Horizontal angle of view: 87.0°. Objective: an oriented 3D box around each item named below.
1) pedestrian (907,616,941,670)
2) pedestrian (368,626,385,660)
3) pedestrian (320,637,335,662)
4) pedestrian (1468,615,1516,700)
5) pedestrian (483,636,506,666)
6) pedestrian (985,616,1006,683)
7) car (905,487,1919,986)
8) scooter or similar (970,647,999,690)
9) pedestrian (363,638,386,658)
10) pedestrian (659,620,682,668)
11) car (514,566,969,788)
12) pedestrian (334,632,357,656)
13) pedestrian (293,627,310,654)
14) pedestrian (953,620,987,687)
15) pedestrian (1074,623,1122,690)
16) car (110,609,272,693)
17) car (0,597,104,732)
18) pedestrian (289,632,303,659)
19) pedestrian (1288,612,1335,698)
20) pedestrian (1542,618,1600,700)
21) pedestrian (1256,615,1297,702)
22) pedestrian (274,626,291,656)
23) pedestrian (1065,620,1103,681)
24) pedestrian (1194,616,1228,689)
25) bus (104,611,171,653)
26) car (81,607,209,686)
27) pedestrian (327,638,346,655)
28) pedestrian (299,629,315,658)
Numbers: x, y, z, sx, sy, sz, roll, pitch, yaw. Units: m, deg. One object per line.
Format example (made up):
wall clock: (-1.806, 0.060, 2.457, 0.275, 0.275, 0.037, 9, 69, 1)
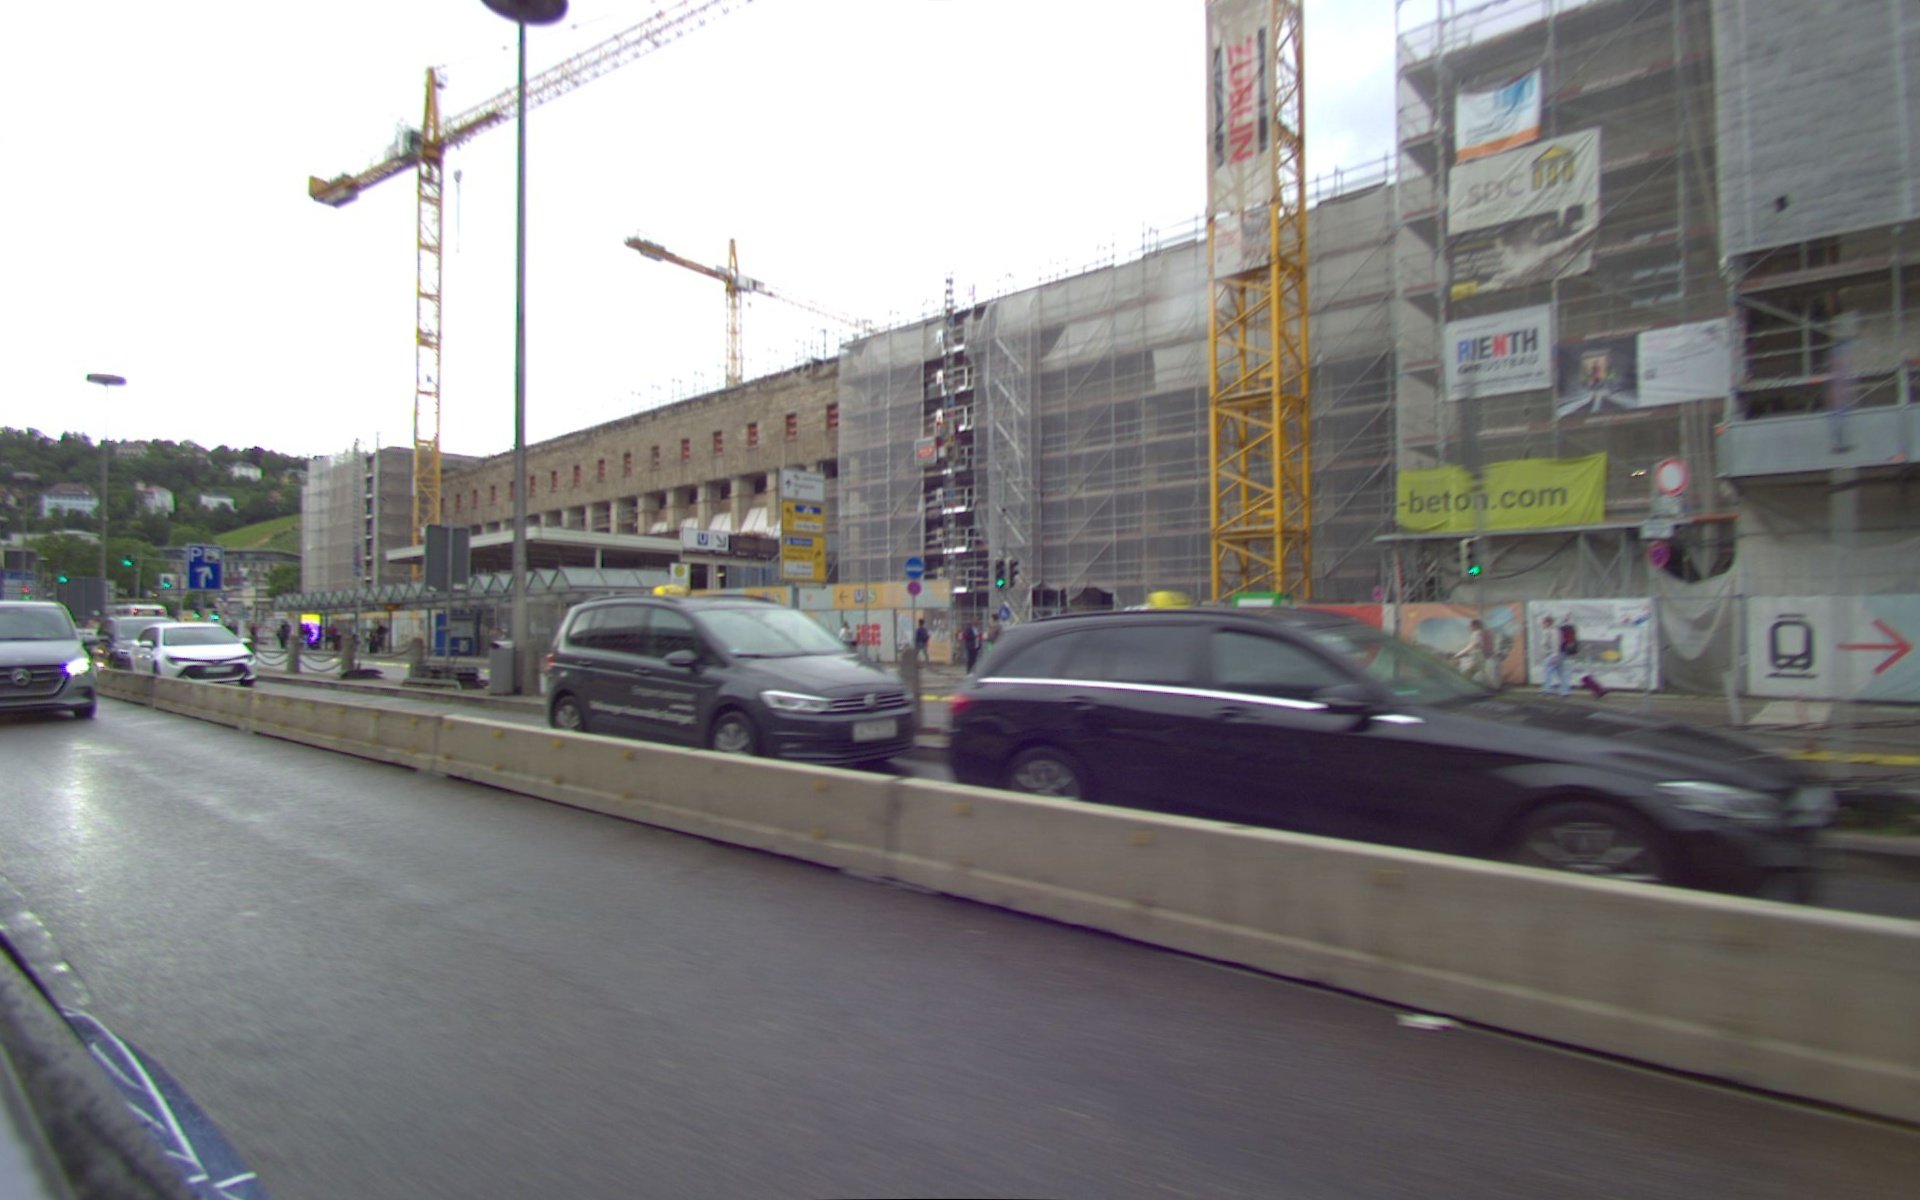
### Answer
pedestrian: (-1.252, 1.480, 35.081, 0.793, 1.855, 0.869, 1, -2, -44)
pedestrian: (-32.555, 2.411, 56.464, 0.549, 1.862, 0.678, 0, -1, -2)
pedestrian: (-42.171, 3.263, 67.472, 0.803, 1.642, 0.551, -2, -2, 34)
pedestrian: (10.945, 1.163, 20.831, 0.835, 1.698, 0.677, -1, -2, 28)
pedestrian: (-21.844, 2.384, 47.496, 0.805, 1.336, 0.692, -2, -2, 41)
pedestrian: (0.995, 1.394, 28.575, 0.334, 1.855, 0.510, 0, -2, -32)
car: (2.203, 0.538, 5.812, 5.052, 1.724, 2.028, -2, -2, 41)
scooter or similar: (0.640, 1.798, 26.740, 0.452, 1.074, 1.243, 0, -1, -13)
pedestrian: (-34.968, 2.862, 60.421, 1.055, 1.167, 0.939, -2, -2, 43)
pedestrian: (-11.356, 1.713, 39.736, 0.734, 1.855, 0.704, 0, -2, -28)
car: (-2.306, 0.647, 9.896, 4.639, 1.666, 1.973, -2, -2, 41)
pedestrian: (-38.575, 2.765, 63.558, 0.830, 1.443, 1.044, -2, -2, 41)
pedestrian: (-43.350, 2.668, 66.619, 0.746, 1.804, 0.717, -2, -2, 37)
pedestrian: (0.280, 1.519, 28.918, 0.692, 1.855, 0.880, 0, -1, -19)
pedestrian: (3.967, 1.602, 29.035, 0.829, 1.855, 1.059, 1, -2, -44)
car: (-17.584, 1.114, 23.052, 4.829, 1.719, 1.973, -2, -2, 41)
car: (-15.599, 0.985, 16.285, 5.247, 1.918, 1.973, -2, 0, 41)
pedestrian: (-44.539, 3.051, 67.868, 0.803, 1.804, 0.551, -2, -2, 34)
pedestrian: (7.772, 1.201, 22.372, 0.835, 1.855, 0.869, -1, -2, 28)
pedestrian: (12.366, 1.174, 20.494, 0.839, 1.626, 0.668, -2, -2, 44)
pedestrian: (6.894, 1.255, 22.033, 0.703, 1.855, 0.503, -2, -2, 36)
pedestrian: (-45.860, 2.782, 68.513, 0.822, 1.973, 0.751, -1, -1, 40)
pedestrian: (3.842, 1.549, 31.314, 0.793, 1.855, 0.851, 1, -2, -44)
pedestrian: (6.464, 1.333, 26.042, 0.701, 1.855, 0.567, -1, -2, 28)
bus: (-77.705, 2.981, 95.343, 2.876, 3.605, 19.087, 2, -3, -45)
car: (-21.480, 1.187, 26.599, 4.833, 1.876, 1.971, -2, -2, 44)
pedestrian: (-40.023, 2.989, 64.961, 0.925, 1.101, 0.835, -2, -2, 41)
pedestrian: (-41.241, 2.713, 63.888, 0.765, 1.804, 0.862, 0, -2, -40)
